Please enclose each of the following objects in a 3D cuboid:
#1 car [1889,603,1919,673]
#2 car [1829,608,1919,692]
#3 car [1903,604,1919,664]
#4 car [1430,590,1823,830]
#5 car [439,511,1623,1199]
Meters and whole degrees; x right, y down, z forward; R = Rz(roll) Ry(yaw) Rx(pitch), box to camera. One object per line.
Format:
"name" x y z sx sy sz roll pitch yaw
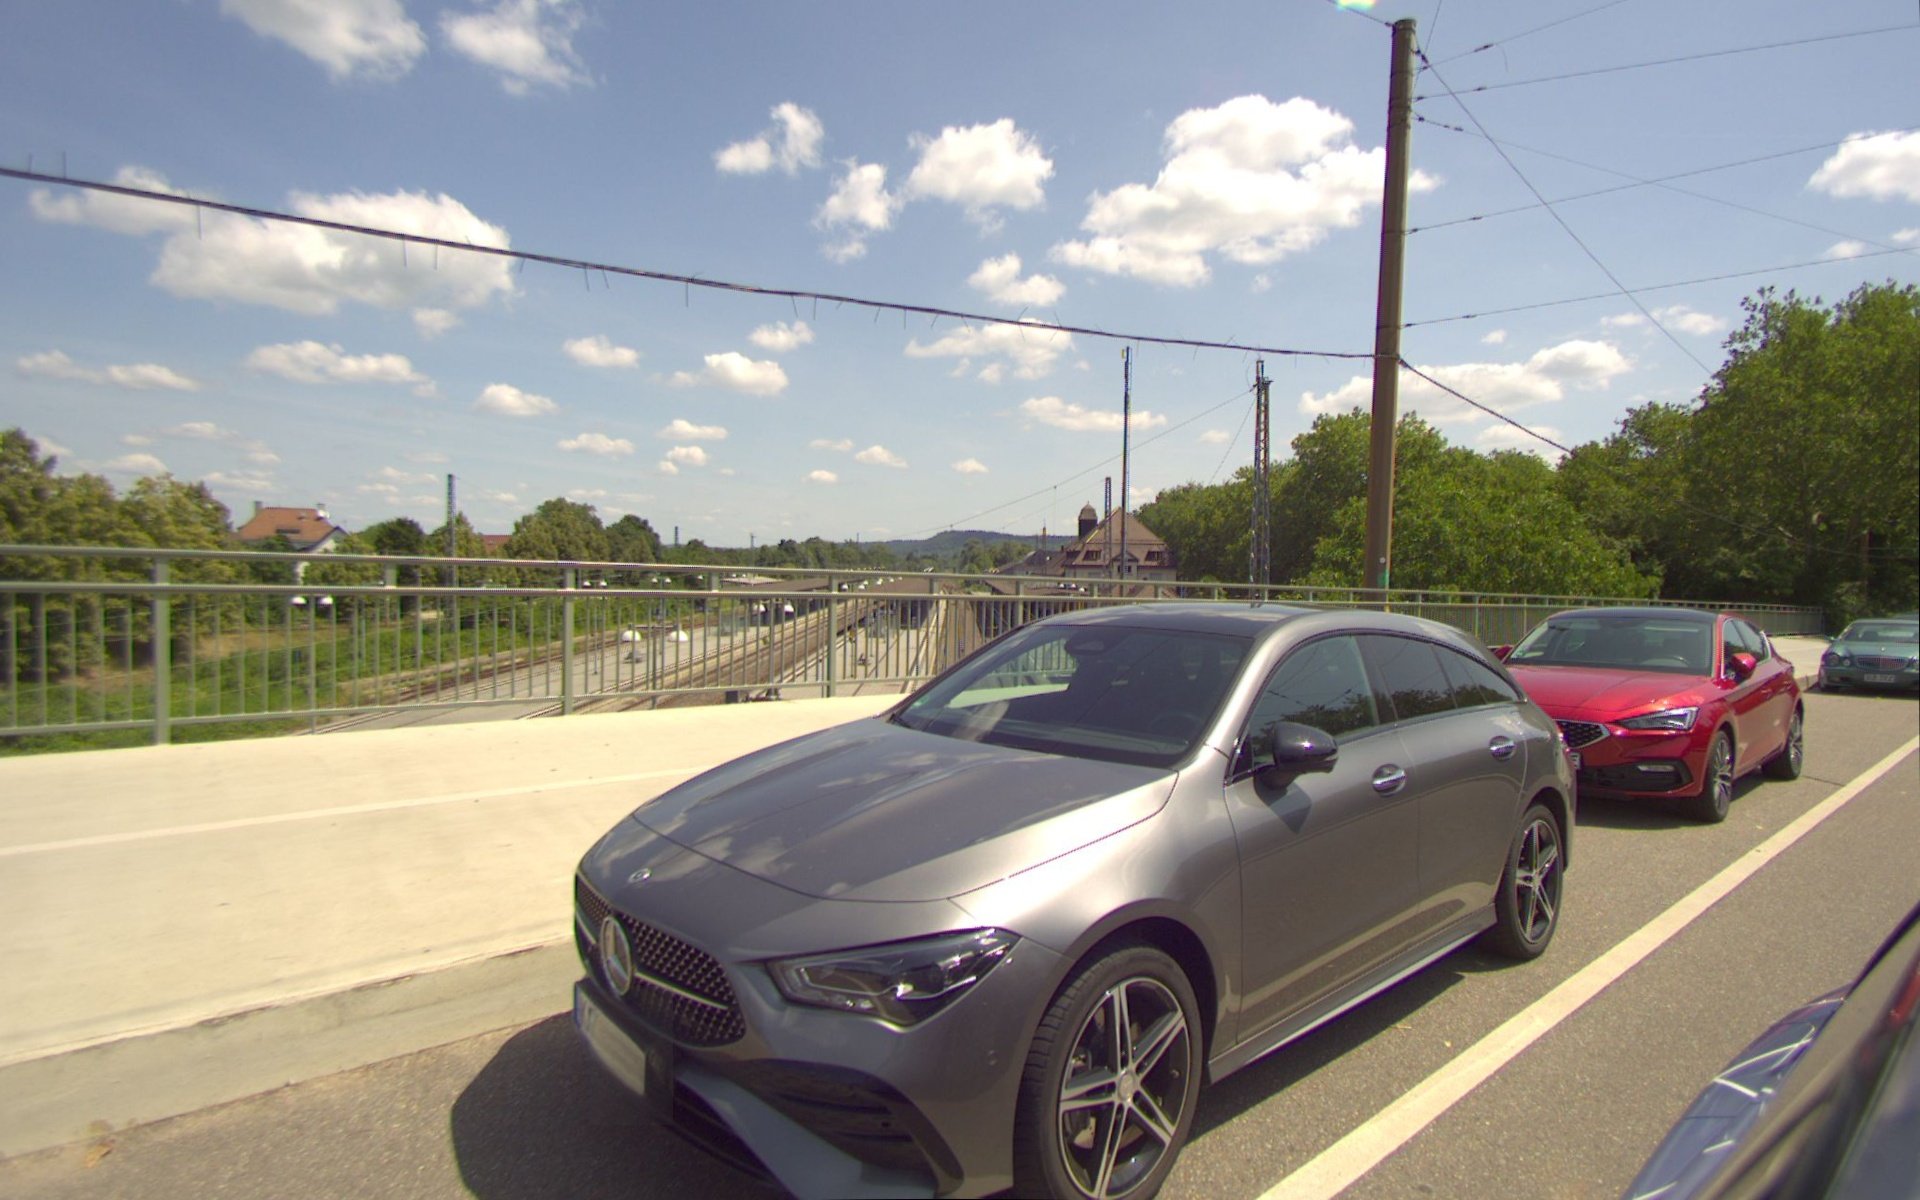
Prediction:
"car" 22.352 0.839 22.829 4.312 1.472 1.638 1 0 -42
"car" 17.292 0.848 18.474 4.515 1.376 1.686 1 -1 -43
"car" 27.183 0.868 27.438 4.085 1.578 1.828 0 -3 -40
"car" 5.599 0.688 8.271 4.210 1.478 1.649 1 0 -41
"car" 0.795 0.664 3.930 4.642 1.572 1.995 1 0 -44
